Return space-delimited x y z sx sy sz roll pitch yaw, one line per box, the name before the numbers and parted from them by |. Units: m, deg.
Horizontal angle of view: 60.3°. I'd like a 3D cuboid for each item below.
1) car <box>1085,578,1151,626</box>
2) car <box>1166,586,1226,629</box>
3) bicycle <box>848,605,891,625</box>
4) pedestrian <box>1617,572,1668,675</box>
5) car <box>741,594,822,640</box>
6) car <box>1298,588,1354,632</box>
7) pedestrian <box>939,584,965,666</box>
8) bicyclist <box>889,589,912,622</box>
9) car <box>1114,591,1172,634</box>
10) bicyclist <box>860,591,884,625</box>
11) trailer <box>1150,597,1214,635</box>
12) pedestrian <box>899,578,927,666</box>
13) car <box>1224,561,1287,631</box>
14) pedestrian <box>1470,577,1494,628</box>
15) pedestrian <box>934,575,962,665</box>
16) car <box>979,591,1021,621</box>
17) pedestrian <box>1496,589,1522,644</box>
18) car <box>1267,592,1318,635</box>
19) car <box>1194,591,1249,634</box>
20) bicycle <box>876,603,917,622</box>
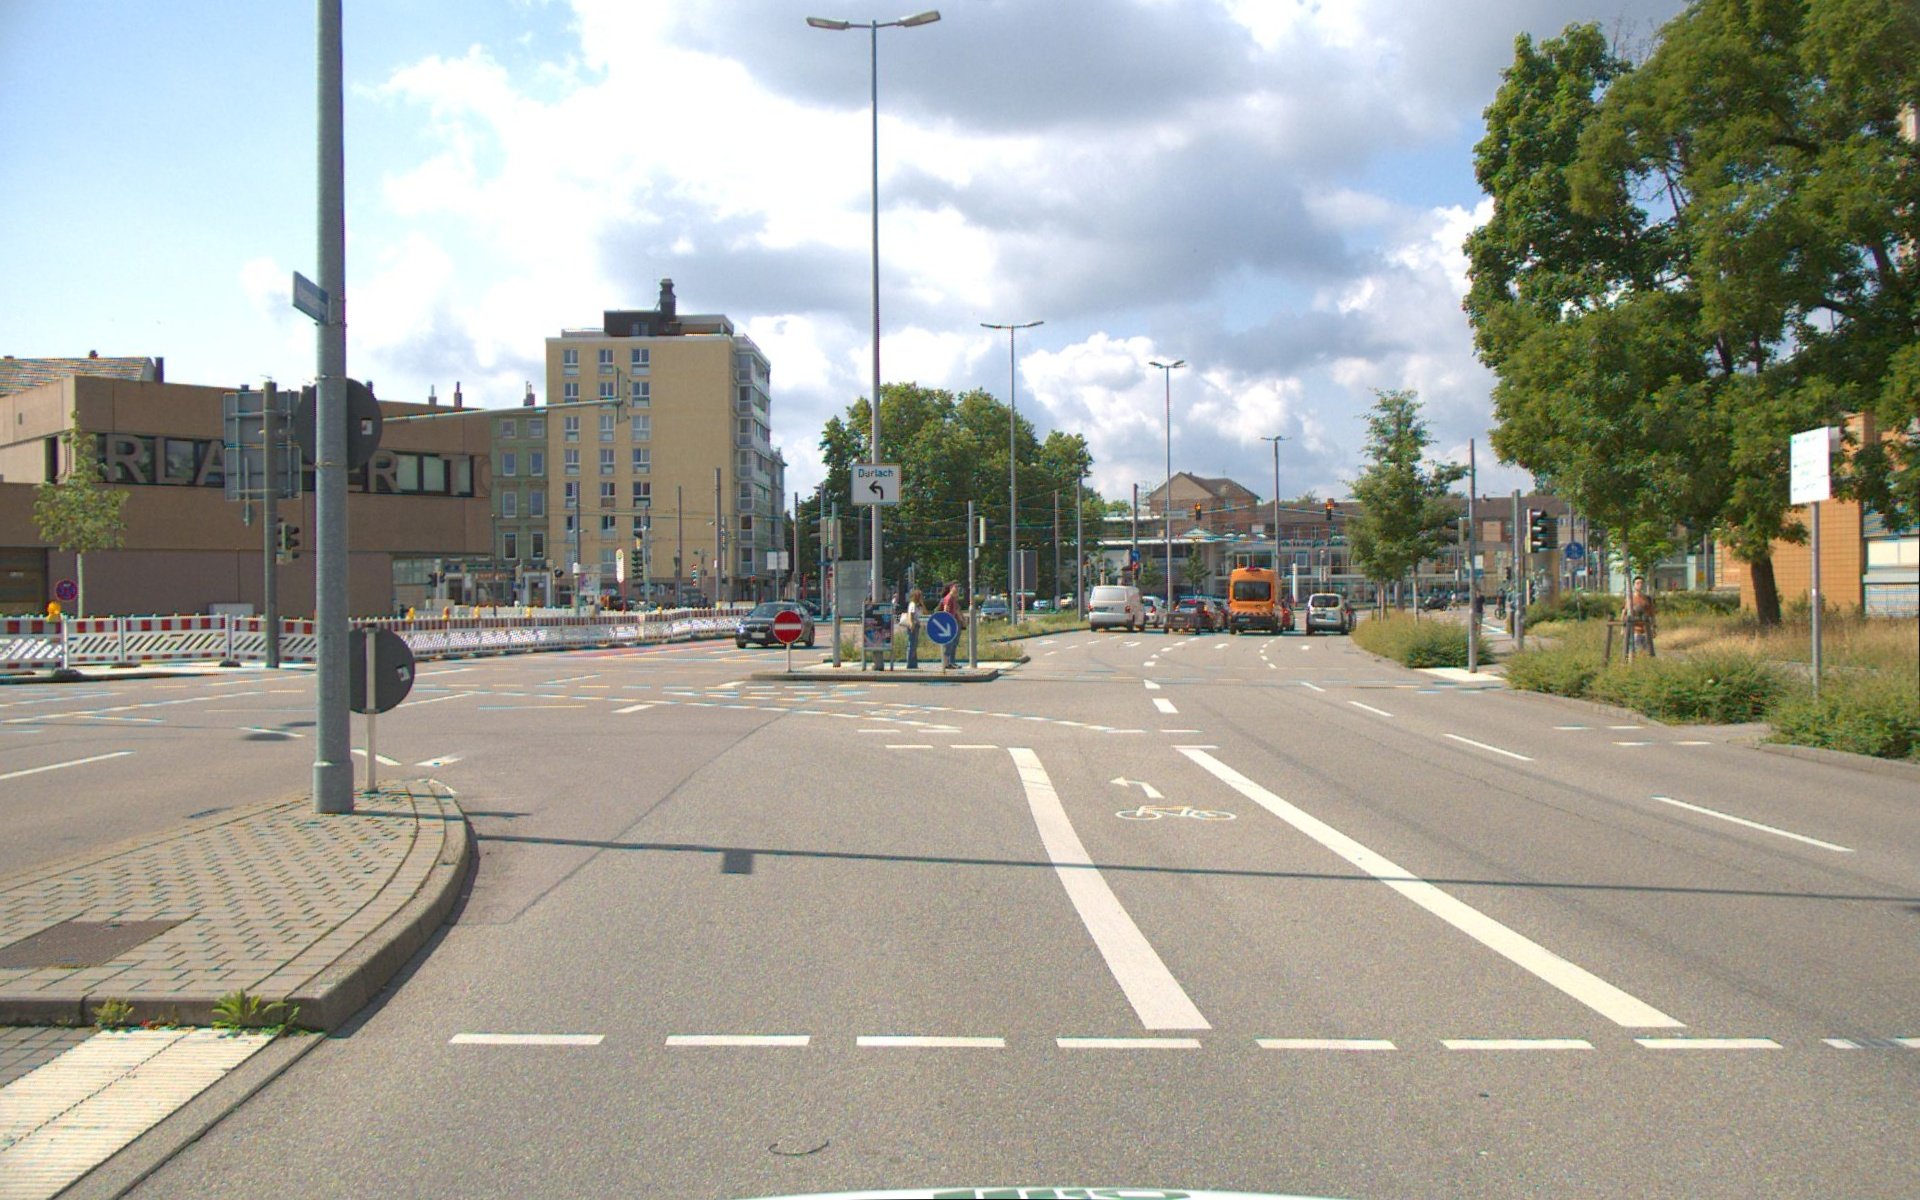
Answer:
car | 6.945 0.063 72.371 1.963 2.001 4.641 -1 0 17
car | 10.493 0.315 73.341 1.952 1.858 4.002 -1 0 18
bicycle | -5.261 0.867 95.744 2.328 1.085 0.859 -1 0 14
pedestrian | 11.865 0.409 28.773 0.646 1.764 0.578 -1 0 0
car | -5.676 0.534 53.166 1.754 1.412 4.230 0 0 6
car | 15.991 0.432 72.156 1.952 1.826 4.002 -1 0 18
pedestrian | -0.168 0.532 34.965 0.514 1.713 0.624 -1 0 2
bicyclist | -3.635 0.325 100.520 1.193 1.943 0.835 -1 0 14
car | 8.911 0.580 80.084 1.949 1.972 4.641 -1 0 17
bicyclist | -5.073 0.435 95.700 1.193 1.943 0.859 -1 0 14
trailer | 9.433 0.651 70.075 1.952 1.503 4.002 -1 0 18
pedestrian | -0.961 0.447 33.727 0.514 1.764 0.624 -1 0 2
car | 12.704 -0.169 70.892 2.085 2.829 4.641 -1 0 17
pedestrian | 18.775 0.075 59.460 0.771 1.815 0.667 -1 0 16
pedestrian | -0.237 0.398 32.777 0.514 1.764 0.624 -1 0 2
car | 2.165 0.314 89.378 1.626 1.506 4.065 2 0 10
pedestrian | 18.254 0.556 55.005 0.771 1.815 0.667 -1 0 14
car | 15.947 0.613 79.196 1.949 1.972 4.641 -1 0 17
car | 12.656 0.584 79.853 1.949 1.972 4.641 -1 0 17
bicycle | -3.874 0.765 100.570 2.328 1.085 0.844 -1 0 14
